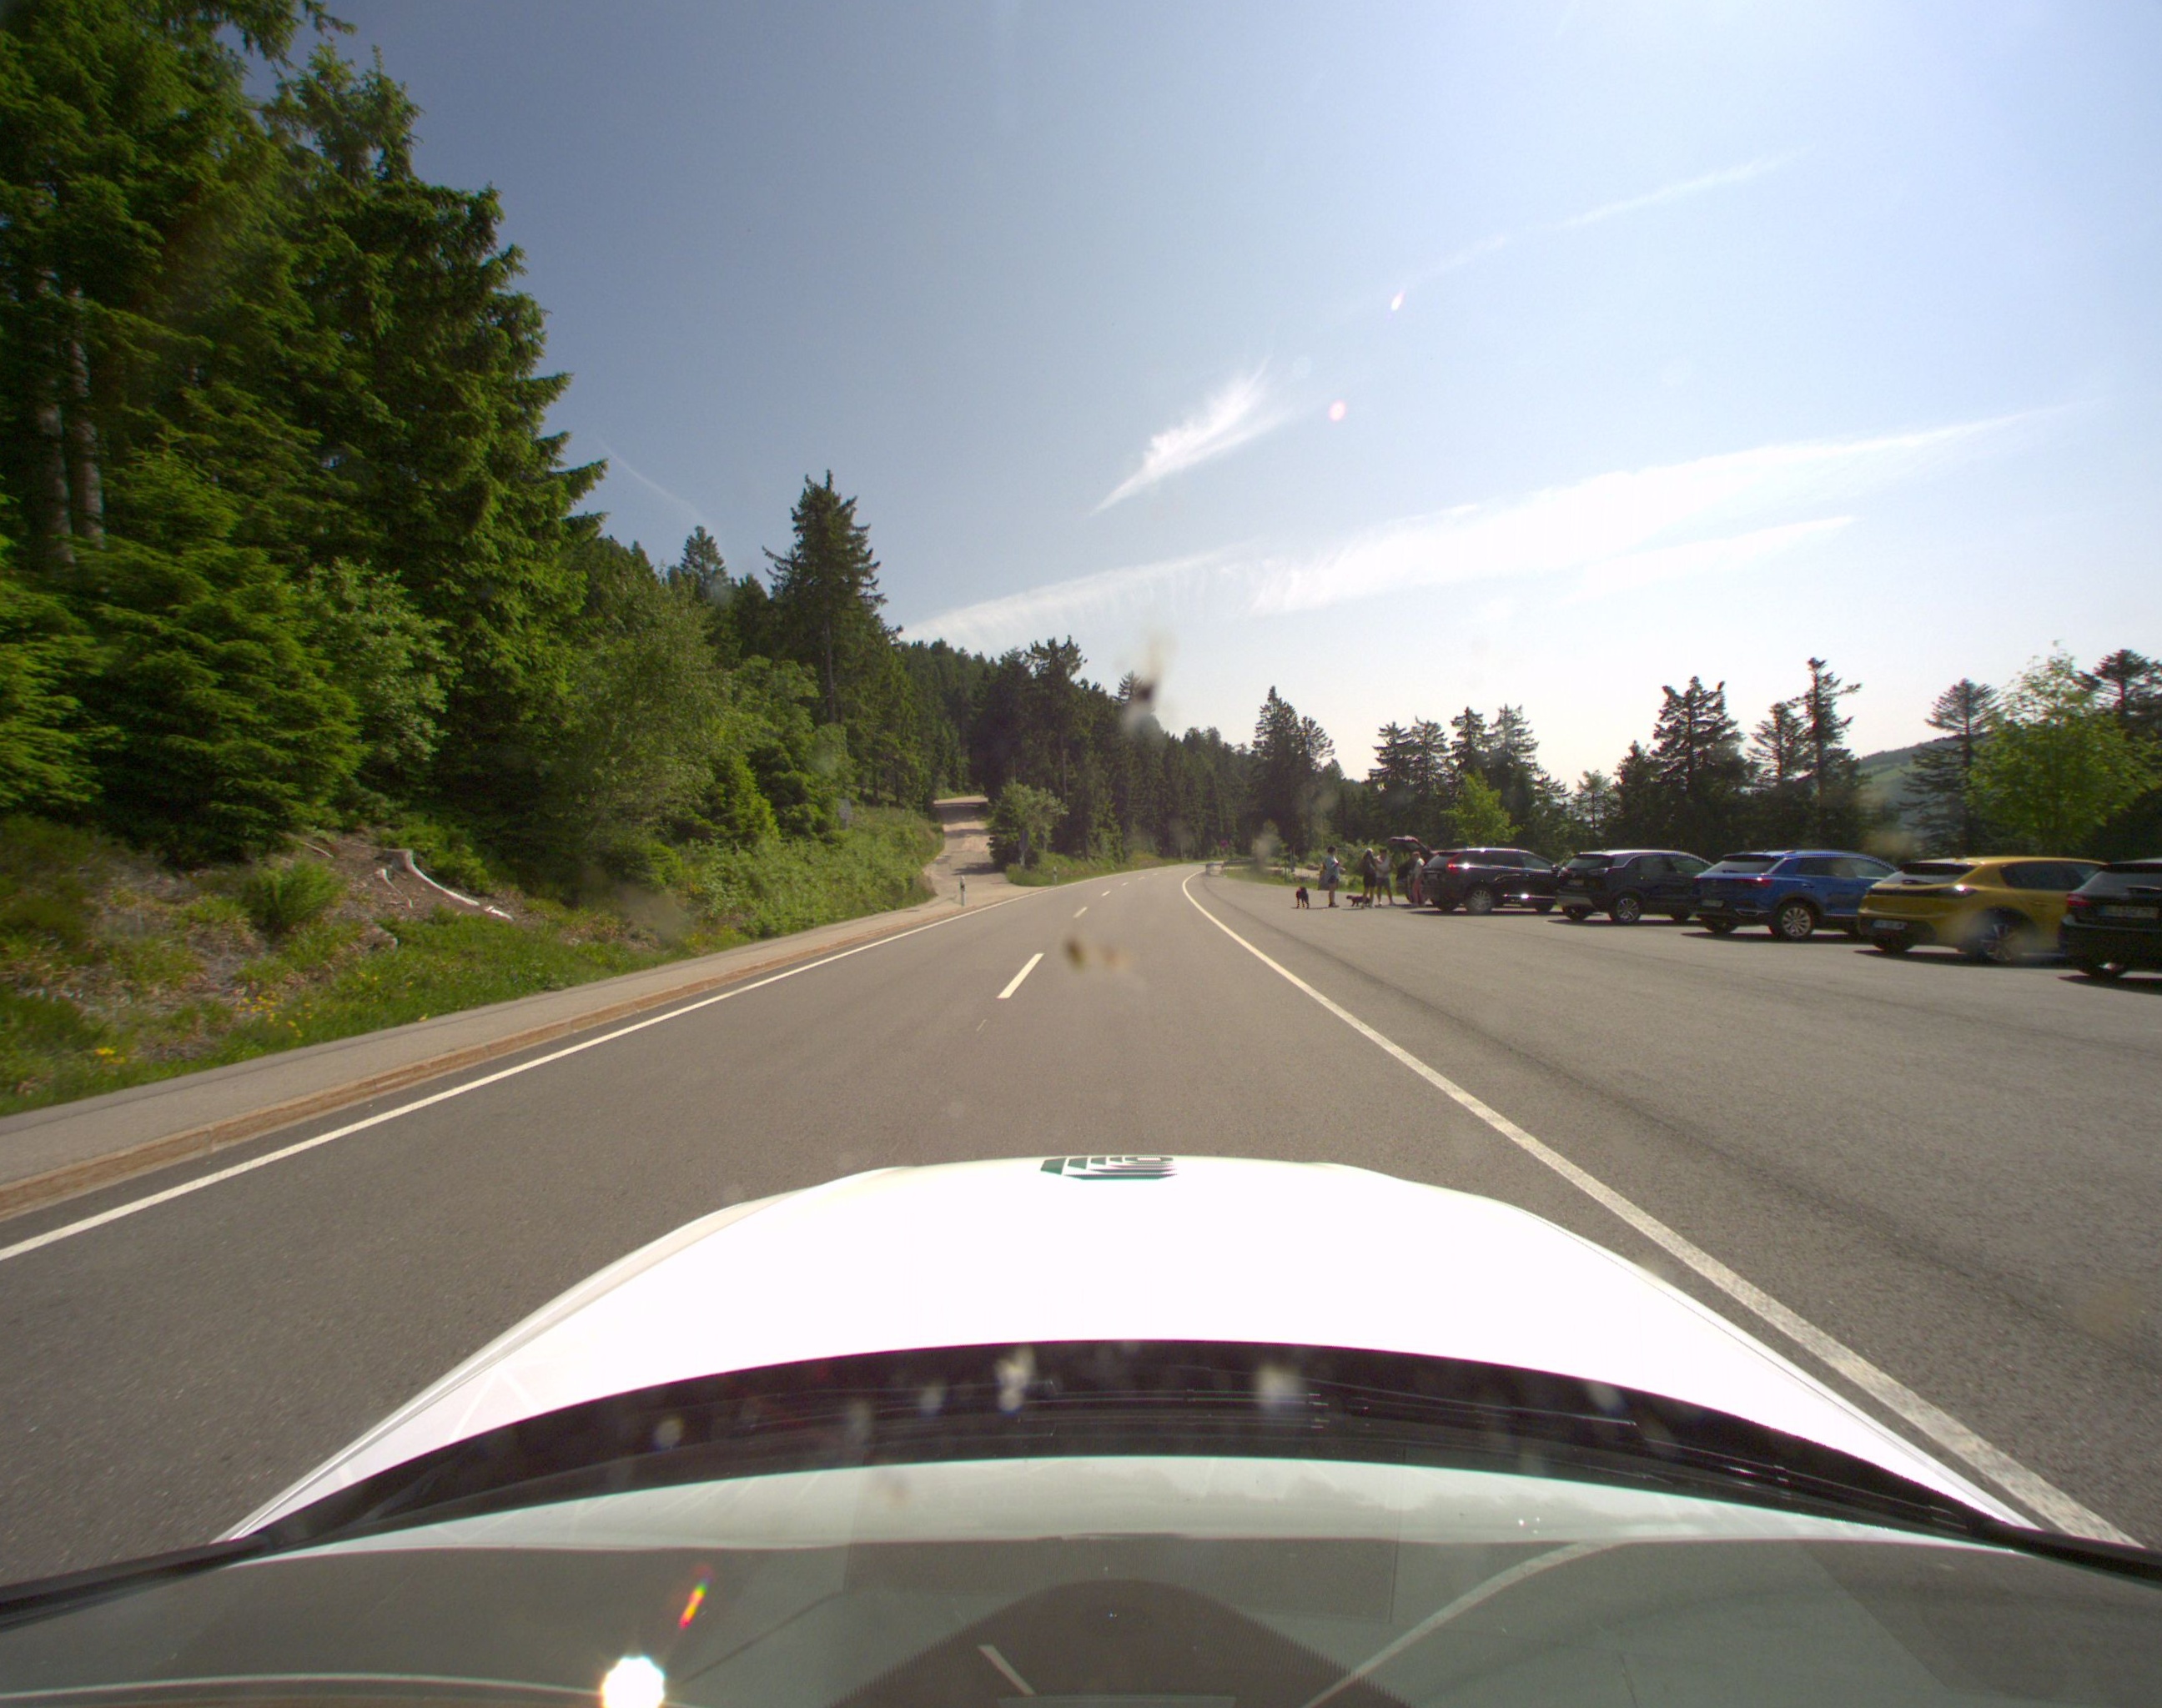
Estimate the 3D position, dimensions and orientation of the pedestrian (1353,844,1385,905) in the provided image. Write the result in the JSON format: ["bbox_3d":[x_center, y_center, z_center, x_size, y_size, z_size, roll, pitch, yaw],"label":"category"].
[{"bbox_3d":[8.083,0.573,22.897,0.712,1.692,0.620,-1,0,7],"label":"pedestrian"}]

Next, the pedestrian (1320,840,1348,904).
[{"bbox_3d":[7.246,0.512,23.342,0.613,1.775,0.725,-1,0,8],"label":"pedestrian"}]

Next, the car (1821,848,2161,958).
[{"bbox_3d":[13.449,0.630,11.654,3.976,1.352,1.986,-1,0,-2],"label":"car"}]

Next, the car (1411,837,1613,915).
[{"bbox_3d":[11.024,0.520,21.032,4.253,1.793,1.891,-1,2,-2],"label":"car"}]

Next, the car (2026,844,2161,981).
[{"bbox_3d":[13.348,0.664,8.978,3.987,1.436,1.762,1,0,-3],"label":"car"}]

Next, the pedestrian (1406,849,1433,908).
[{"bbox_3d":[9.524,0.688,22.947,0.612,1.587,0.739,-2,1,20],"label":"pedestrian"}]

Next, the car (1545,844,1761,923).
[{"bbox_3d":[12.503,0.613,17.907,3.746,1.567,1.597,-1,0,-6],"label":"car"}]

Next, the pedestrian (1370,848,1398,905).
[{"bbox_3d":[9.121,0.663,24.504,0.648,1.660,0.690,-2,1,13],"label":"pedestrian"}]

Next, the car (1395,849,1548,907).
[{"bbox_3d":[11.553,0.691,24.218,3.809,1.661,1.650,0,0,-4],"label":"car"}]

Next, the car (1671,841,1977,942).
[{"bbox_3d":[13.229,0.608,14.669,3.978,1.535,1.805,-1,3,-4],"label":"car"}]
